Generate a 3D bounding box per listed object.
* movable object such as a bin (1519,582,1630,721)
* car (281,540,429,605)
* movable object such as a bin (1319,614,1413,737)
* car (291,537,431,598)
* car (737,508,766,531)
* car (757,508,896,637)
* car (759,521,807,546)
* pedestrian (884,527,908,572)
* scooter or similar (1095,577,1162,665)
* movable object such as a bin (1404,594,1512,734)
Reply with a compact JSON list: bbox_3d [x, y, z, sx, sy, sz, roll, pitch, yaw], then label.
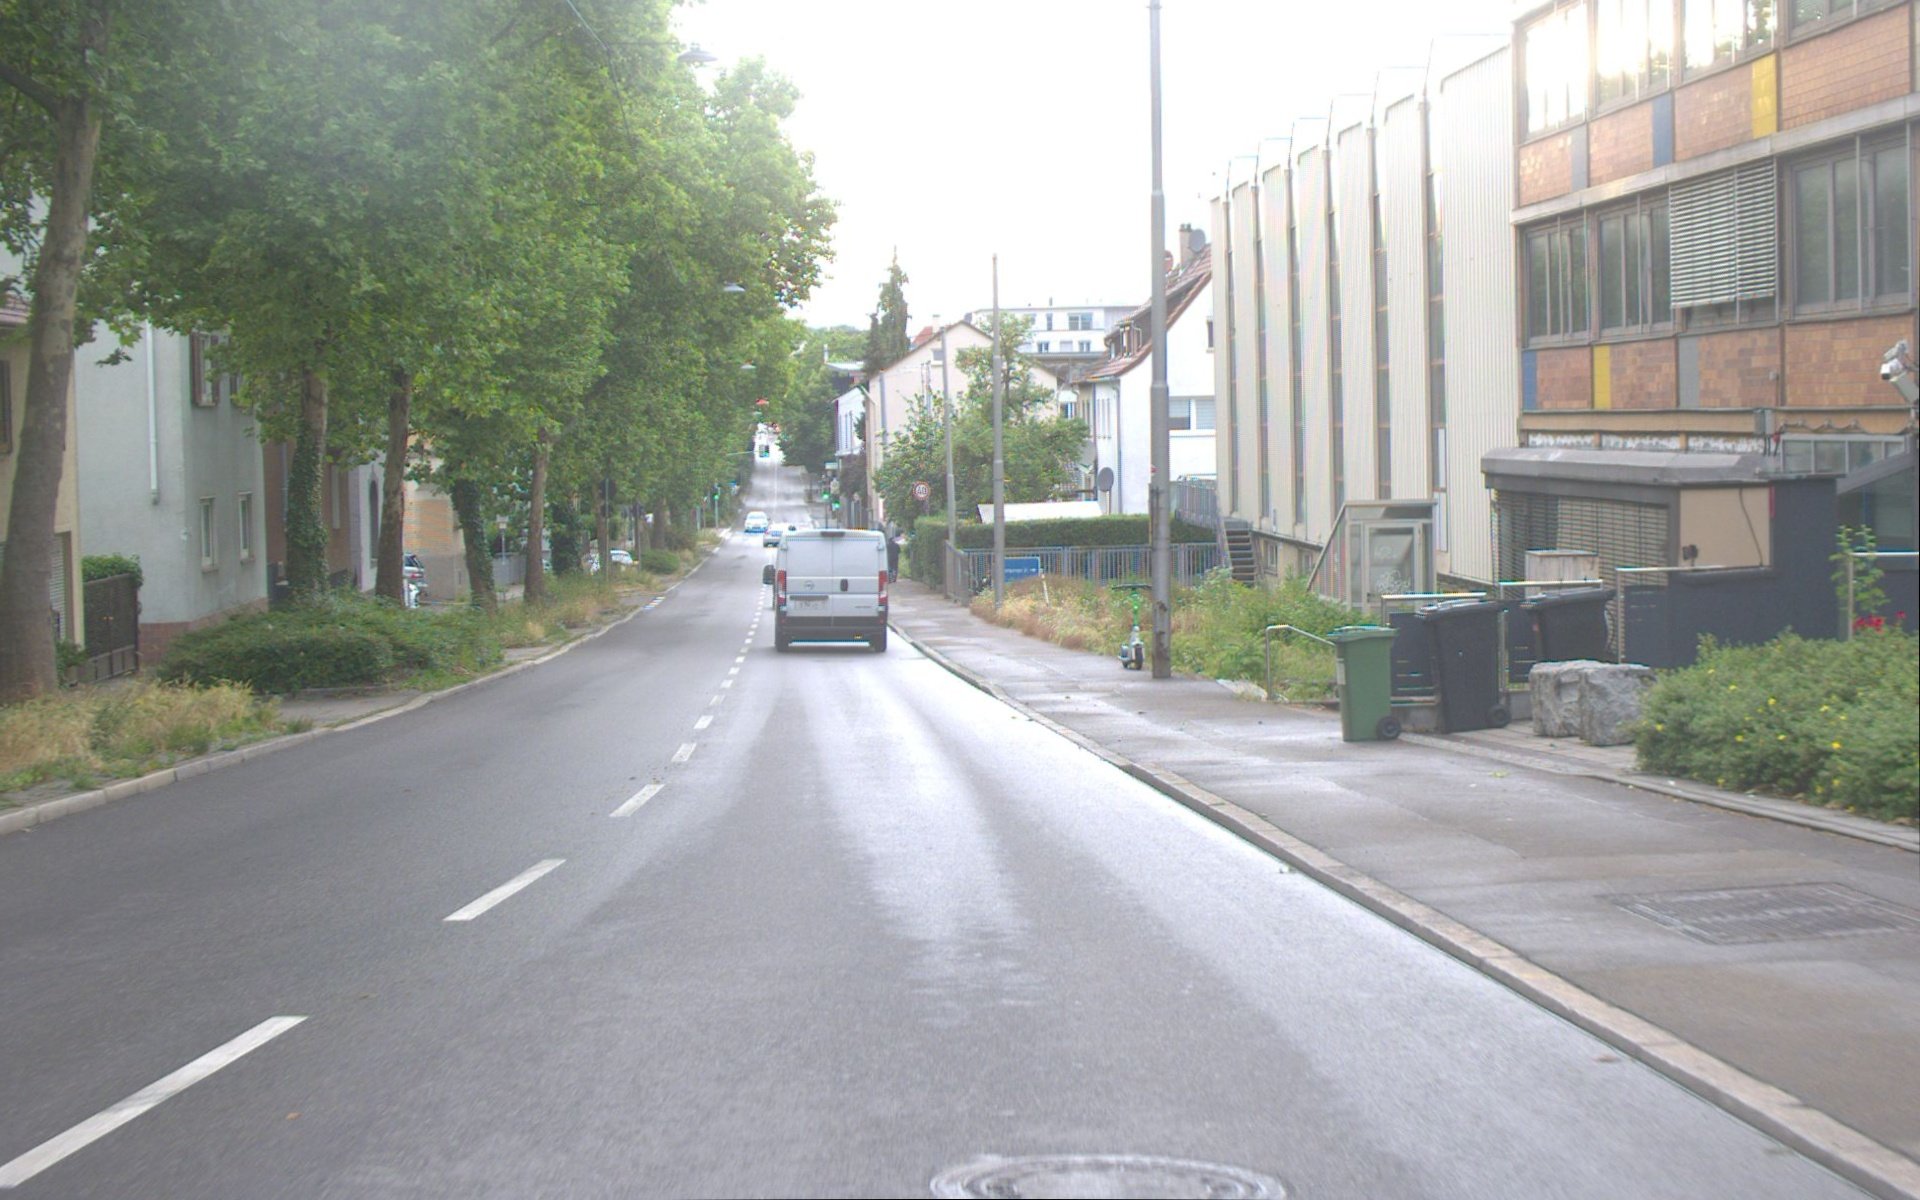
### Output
[{"bbox_3d":[5.065,0.418,28.382,0.695,1.078,0.778,-4,1,-1],"label":"movable object such as a bin"},{"bbox_3d":[-18.394,-0.839,104.664,4.196,1.885,2.000,-1,1,-3],"label":"car"},{"bbox_3d":[3.316,0.611,28.116,0.619,0.933,0.686,-4,1,-1],"label":"movable object such as a bin"},{"bbox_3d":[-19.182,-1.053,110.175,4.196,1.885,2.000,-1,1,-3],"label":"car"},{"bbox_3d":[-15.629,-5.996,257.245,1.993,1.703,4.261,-1,1,-6],"label":"car"},{"bbox_3d":[-2.540,-0.563,64.293,2.346,2.152,4.779,-2,3,-4],"label":"car"},{"bbox_3d":[-11.112,-4.195,216.168,1.994,1.571,3.998,0,2,12],"label":"car"},{"bbox_3d":[-2.407,-1.885,128.924,0.815,1.692,0.729,-1,1,-5],"label":"pedestrian"},{"bbox_3d":[2.292,0.275,46.991,0.605,1.158,1.700,-1,1,-7],"label":"scooter or similar"},{"bbox_3d":[4.093,0.521,28.298,0.695,1.078,0.778,-4,1,-1],"label":"movable object such as a bin"}]
